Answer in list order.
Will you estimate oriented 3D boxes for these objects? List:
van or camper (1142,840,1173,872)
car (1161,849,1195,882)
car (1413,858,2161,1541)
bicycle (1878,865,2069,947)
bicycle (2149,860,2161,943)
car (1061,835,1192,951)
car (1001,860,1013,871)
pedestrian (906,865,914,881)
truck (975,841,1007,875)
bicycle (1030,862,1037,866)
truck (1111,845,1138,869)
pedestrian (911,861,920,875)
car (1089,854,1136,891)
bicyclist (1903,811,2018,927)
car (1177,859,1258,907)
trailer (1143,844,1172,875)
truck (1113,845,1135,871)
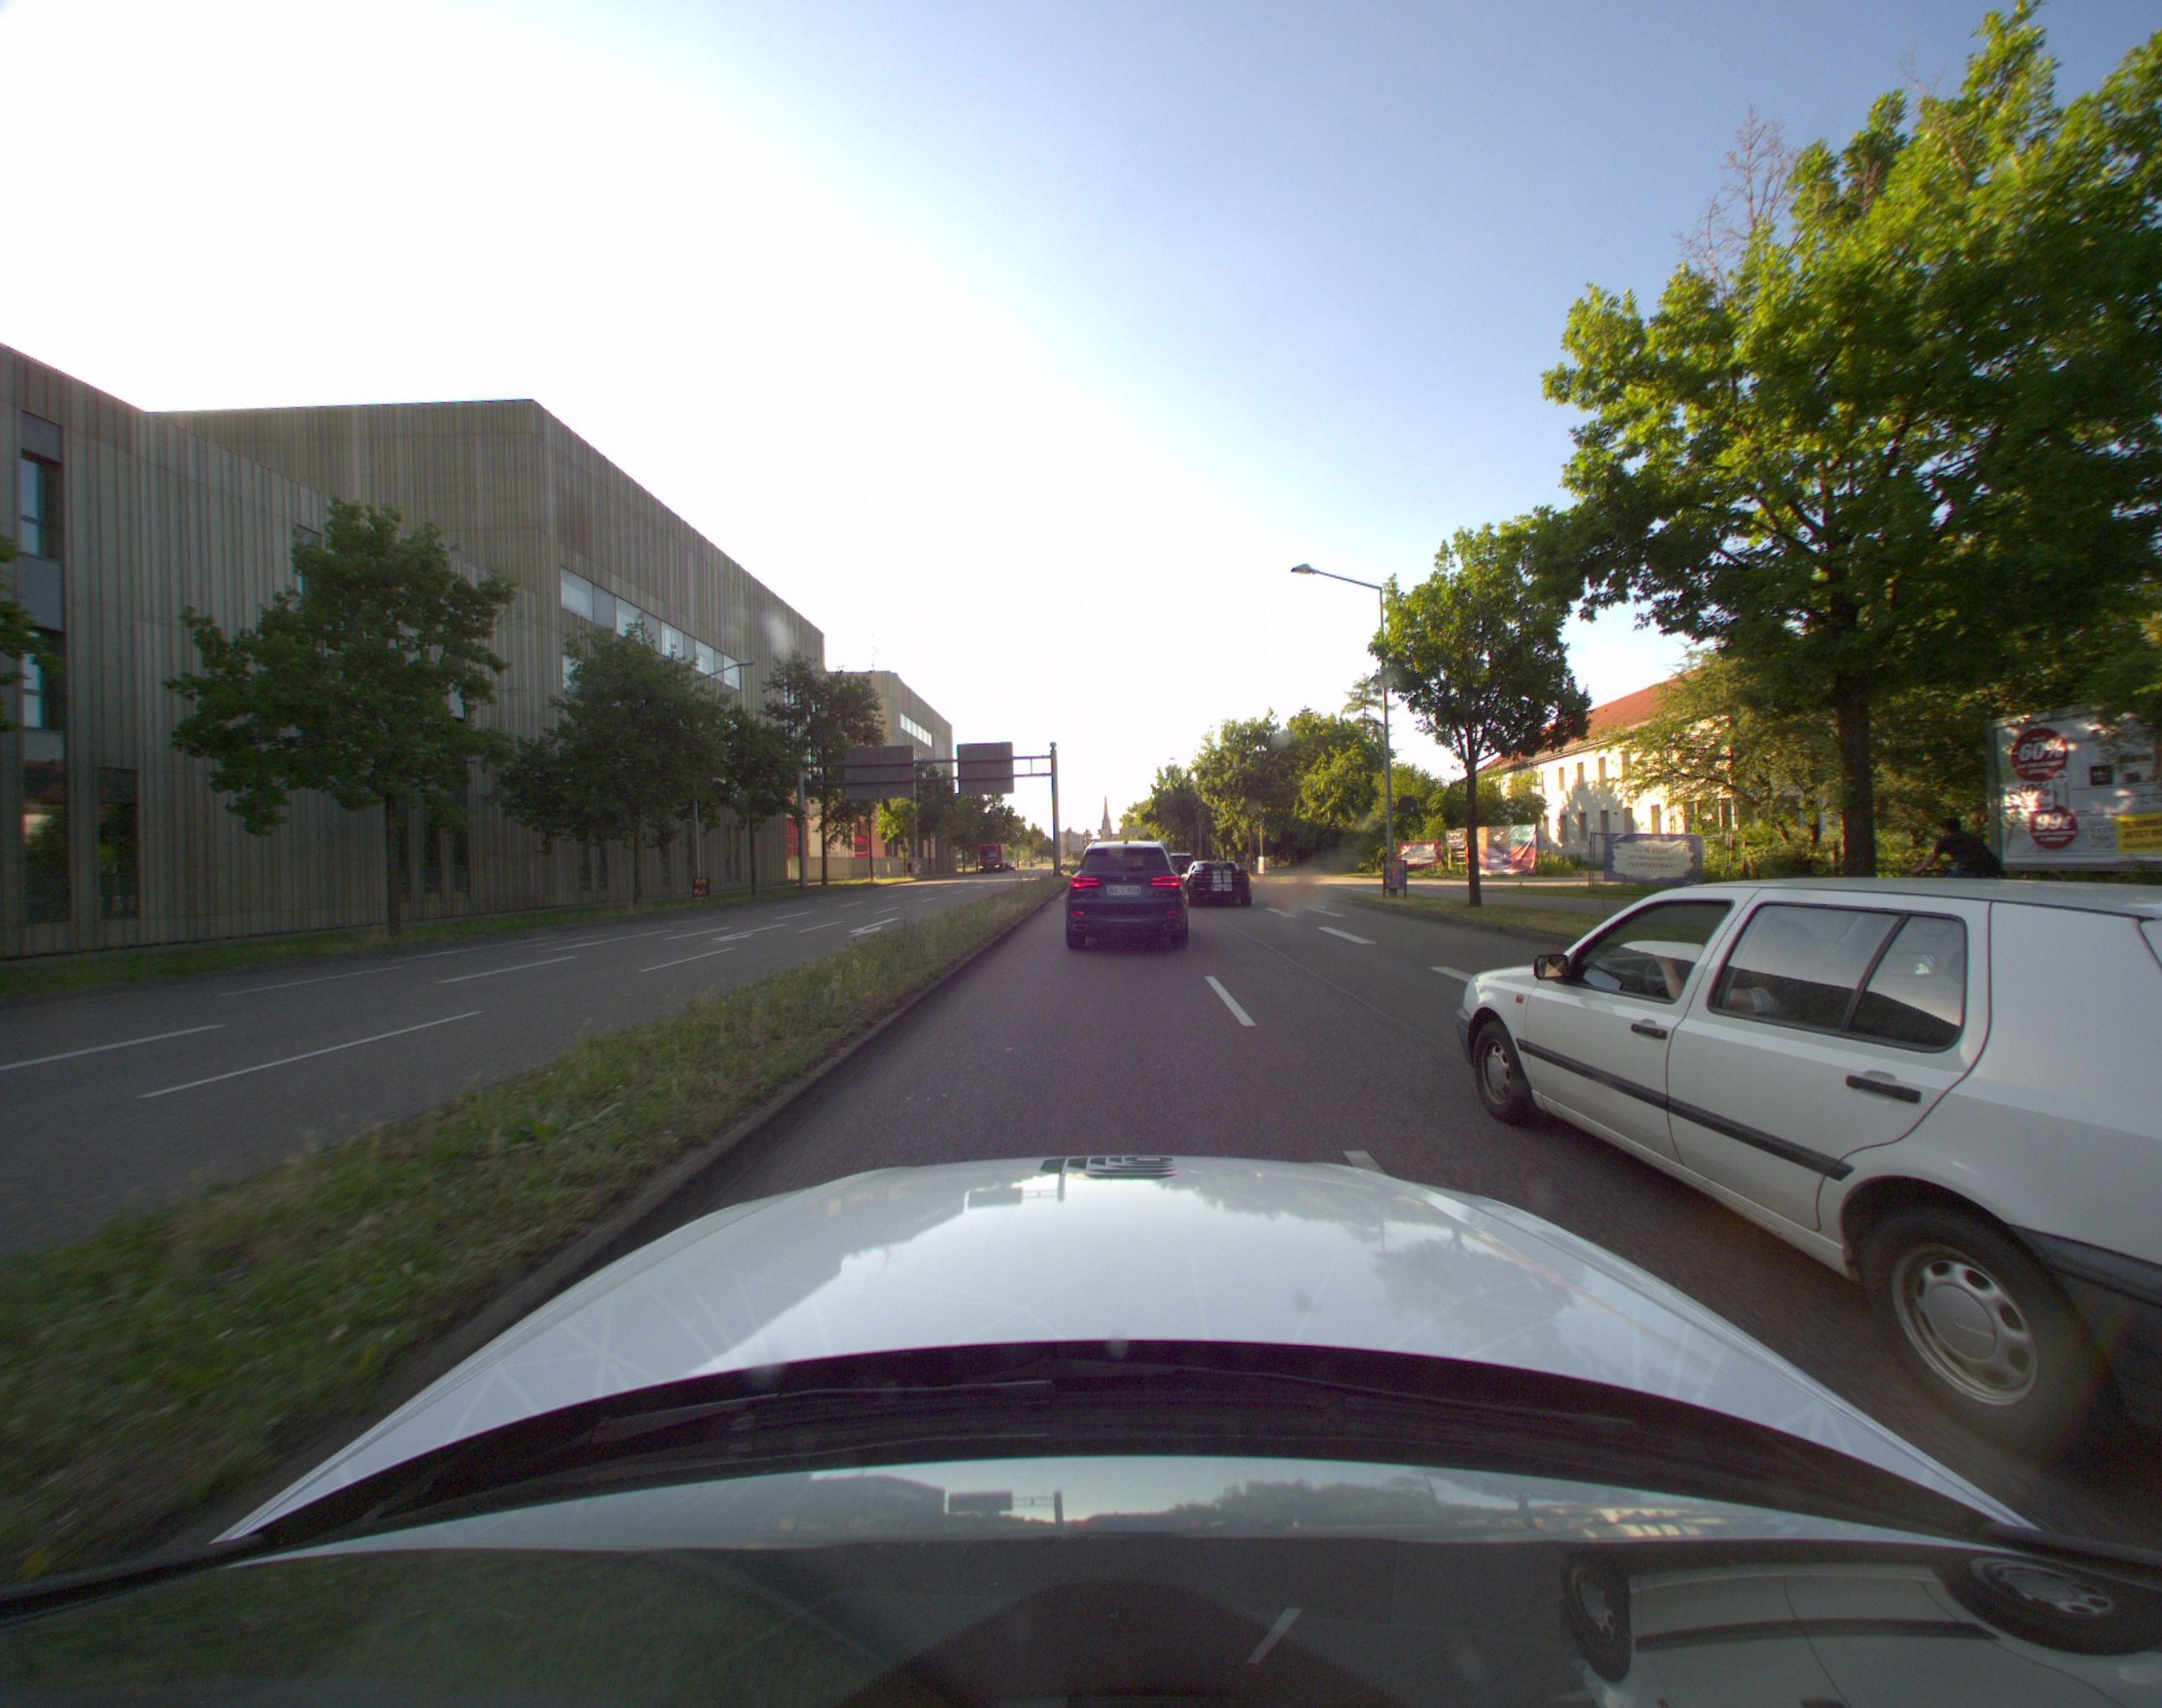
[{"bbox_3d":[6.622,0.172,71.080,2.276,2.629,6.585,-1,0,1],"label":"van or camper"},{"bbox_3d":[5.296,0.645,44.665,1.738,1.621,3.825,-2,-2,6],"label":"car"},{"bbox_3d":[3.048,0.744,3.554,1.605,1.398,4.038,0,-1,1],"label":"car"},{"bbox_3d":[11.875,0.653,10.936,0.614,0.973,1.823,-2,0,4],"label":"bicycle"},{"bbox_3d":[13.034,0.556,8.698,0.614,0.973,2.060,-2,0,4],"label":"bicycle"},{"bbox_3d":[0.790,0.624,14.566,1.947,1.727,4.702,-1,-1,3],"label":"car"},{"bbox_3d":[-10.987,1.683,121.400,1.592,1.512,3.863,-2,0,-3],"label":"car"},{"bbox_3d":[-19.505,2.178,92.772,0.630,1.841,0.717,-2,-1,3],"label":"pedestrian"},{"bbox_3d":[-10.792,0.458,99.046,2.990,3.811,10.081,-2,0,-2],"label":"truck"},{"bbox_3d":[-12.516,2.585,214.451,1.893,1.020,0.506,-1,-1,17],"label":"bicycle"},{"bbox_3d":[4.781,0.364,90.671,2.573,2.558,6.248,-2,0,-1],"label":"truck"},{"bbox_3d":[-18.672,1.554,91.917,0.773,1.601,0.910,-2,0,3],"label":"pedestrian"},{"bbox_3d":[1.400,0.770,35.243,1.738,1.473,3.826,-2,0,6],"label":"car"},{"bbox_3d":[11.871,0.195,11.022,0.610,1.501,0.849,-2,-1,3],"label":"bicyclist"},{"bbox_3d":[4.108,0.827,25.160,1.847,1.338,4.626,-1,0,2],"label":"car"},{"bbox_3d":[6.083,0.422,65.058,2.082,2.400,3.502,0,-1,2],"label":"trailer"},{"bbox_3d":[4.707,0.430,89.341,2.212,2.651,4.774,-2,-1,1],"label":"truck"}]
